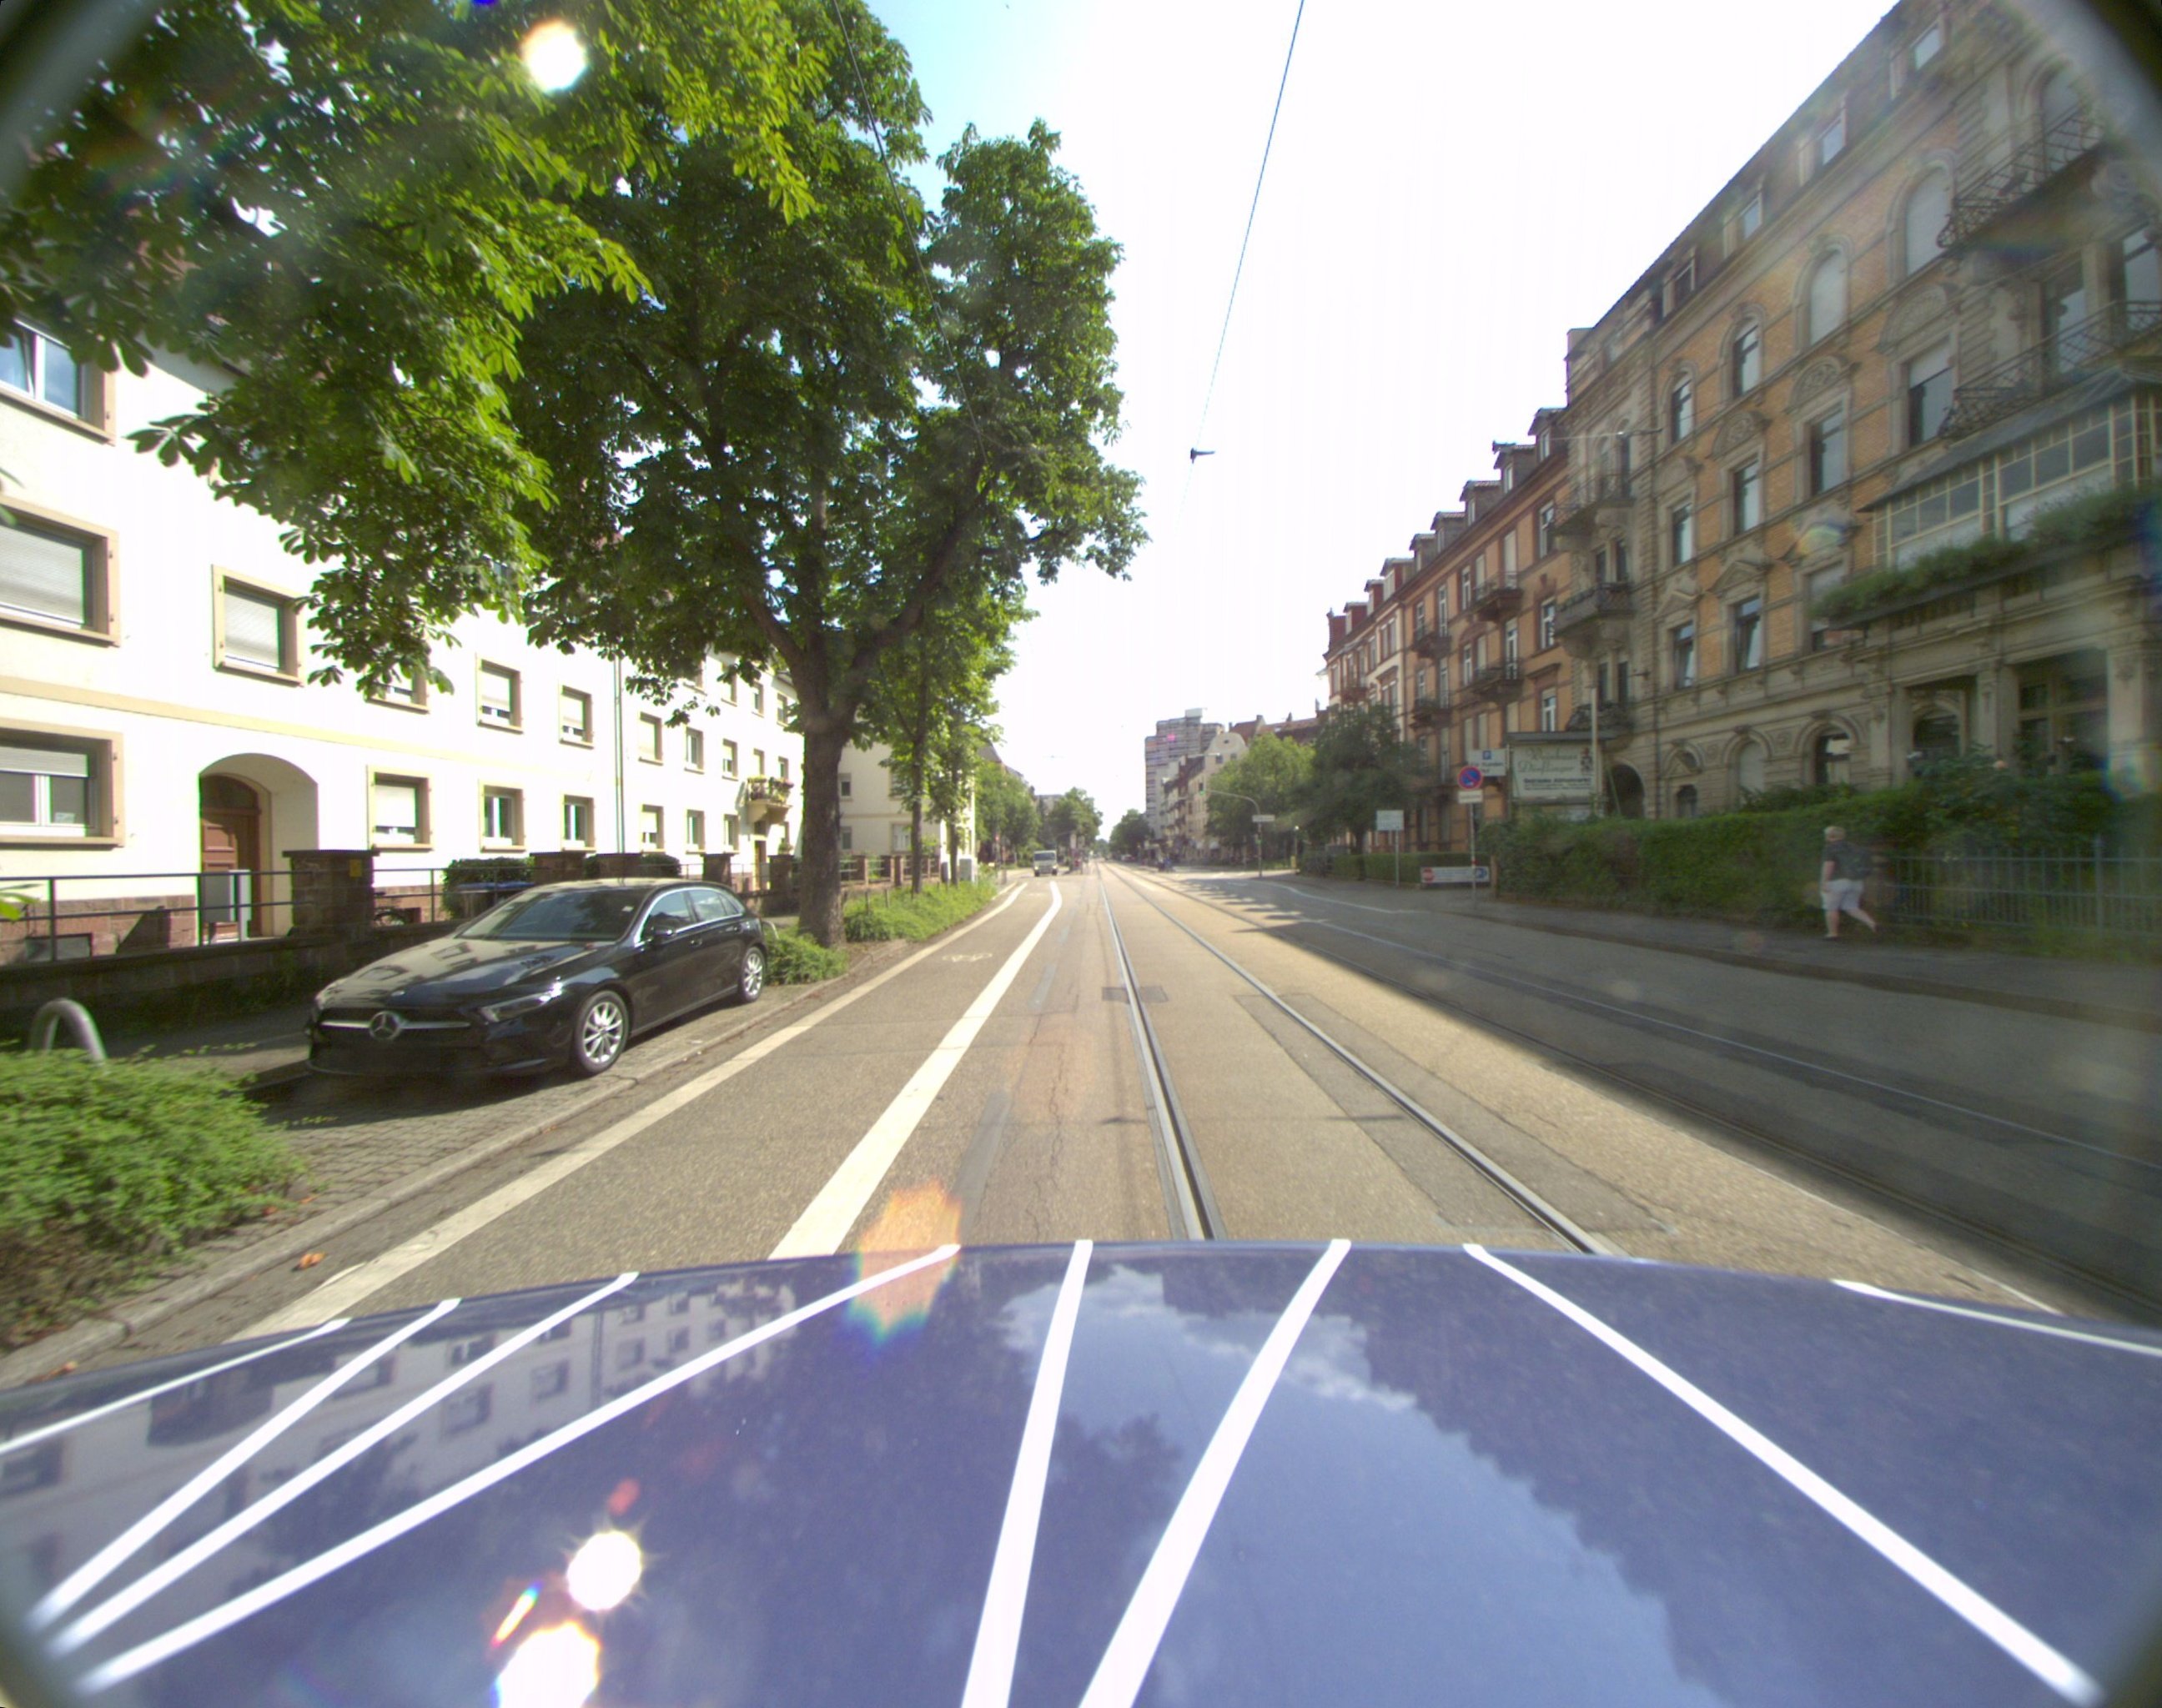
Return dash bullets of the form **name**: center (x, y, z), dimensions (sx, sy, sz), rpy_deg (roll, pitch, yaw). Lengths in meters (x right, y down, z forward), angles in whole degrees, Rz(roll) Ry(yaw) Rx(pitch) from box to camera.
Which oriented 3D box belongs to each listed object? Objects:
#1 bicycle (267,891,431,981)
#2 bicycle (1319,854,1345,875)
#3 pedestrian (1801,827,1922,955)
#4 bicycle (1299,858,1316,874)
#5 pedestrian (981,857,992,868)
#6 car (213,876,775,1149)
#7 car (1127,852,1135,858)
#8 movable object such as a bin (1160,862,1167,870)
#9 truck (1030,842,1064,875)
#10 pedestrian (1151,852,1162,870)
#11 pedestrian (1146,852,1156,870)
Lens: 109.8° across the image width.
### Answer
- **bicycle**: center (-10.749, 1.161, 11.255), dimensions (0.626, 1.128, 1.801), rpy_deg (-1, 0, 1)
- **bicycle**: center (14.096, 0.580, 42.665), dimensions (1.308, 1.124, 0.497), rpy_deg (-1, 1, 0)
- **pedestrian**: center (10.933, 0.492, 10.684), dimensions (0.489, 1.693, 1.151), rpy_deg (-1, 1, -1)
- **bicycle**: center (13.360, 0.709, 44.825), dimensions (0.560, 0.927, 1.826), rpy_deg (-1, 0, 4)
- **pedestrian**: center (-10.395, 0.952, 83.884), dimensions (1.160, 1.195, 0.906), rpy_deg (2, 0, -7)
- **car**: center (-4.478, 1.041, 6.830), dimensions (1.665, 1.512, 4.287), rpy_deg (-1, 0, 0)
- **car**: center (12.287, 0.257, 186.012), dimensions (1.841, 1.482, 3.892), rpy_deg (-1, 0, 1)
- **movable object such as a bin**: center (7.463, 1.041, 68.589), dimensions (0.513, 0.713, 0.457), rpy_deg (-1, 0, -13)
- **truck**: center (-2.991, 0.378, 67.903), dimensions (2.531, 2.722, 6.515), rpy_deg (-1, 0, 2)
- **pedestrian**: center (6.789, 0.638, 68.254), dimensions (0.783, 1.565, 0.692), rpy_deg (-1, 0, -13)
- **pedestrian**: center (6.355, 0.640, 68.853), dimensions (0.716, 1.565, 0.585), rpy_deg (-1, 0, -13)
